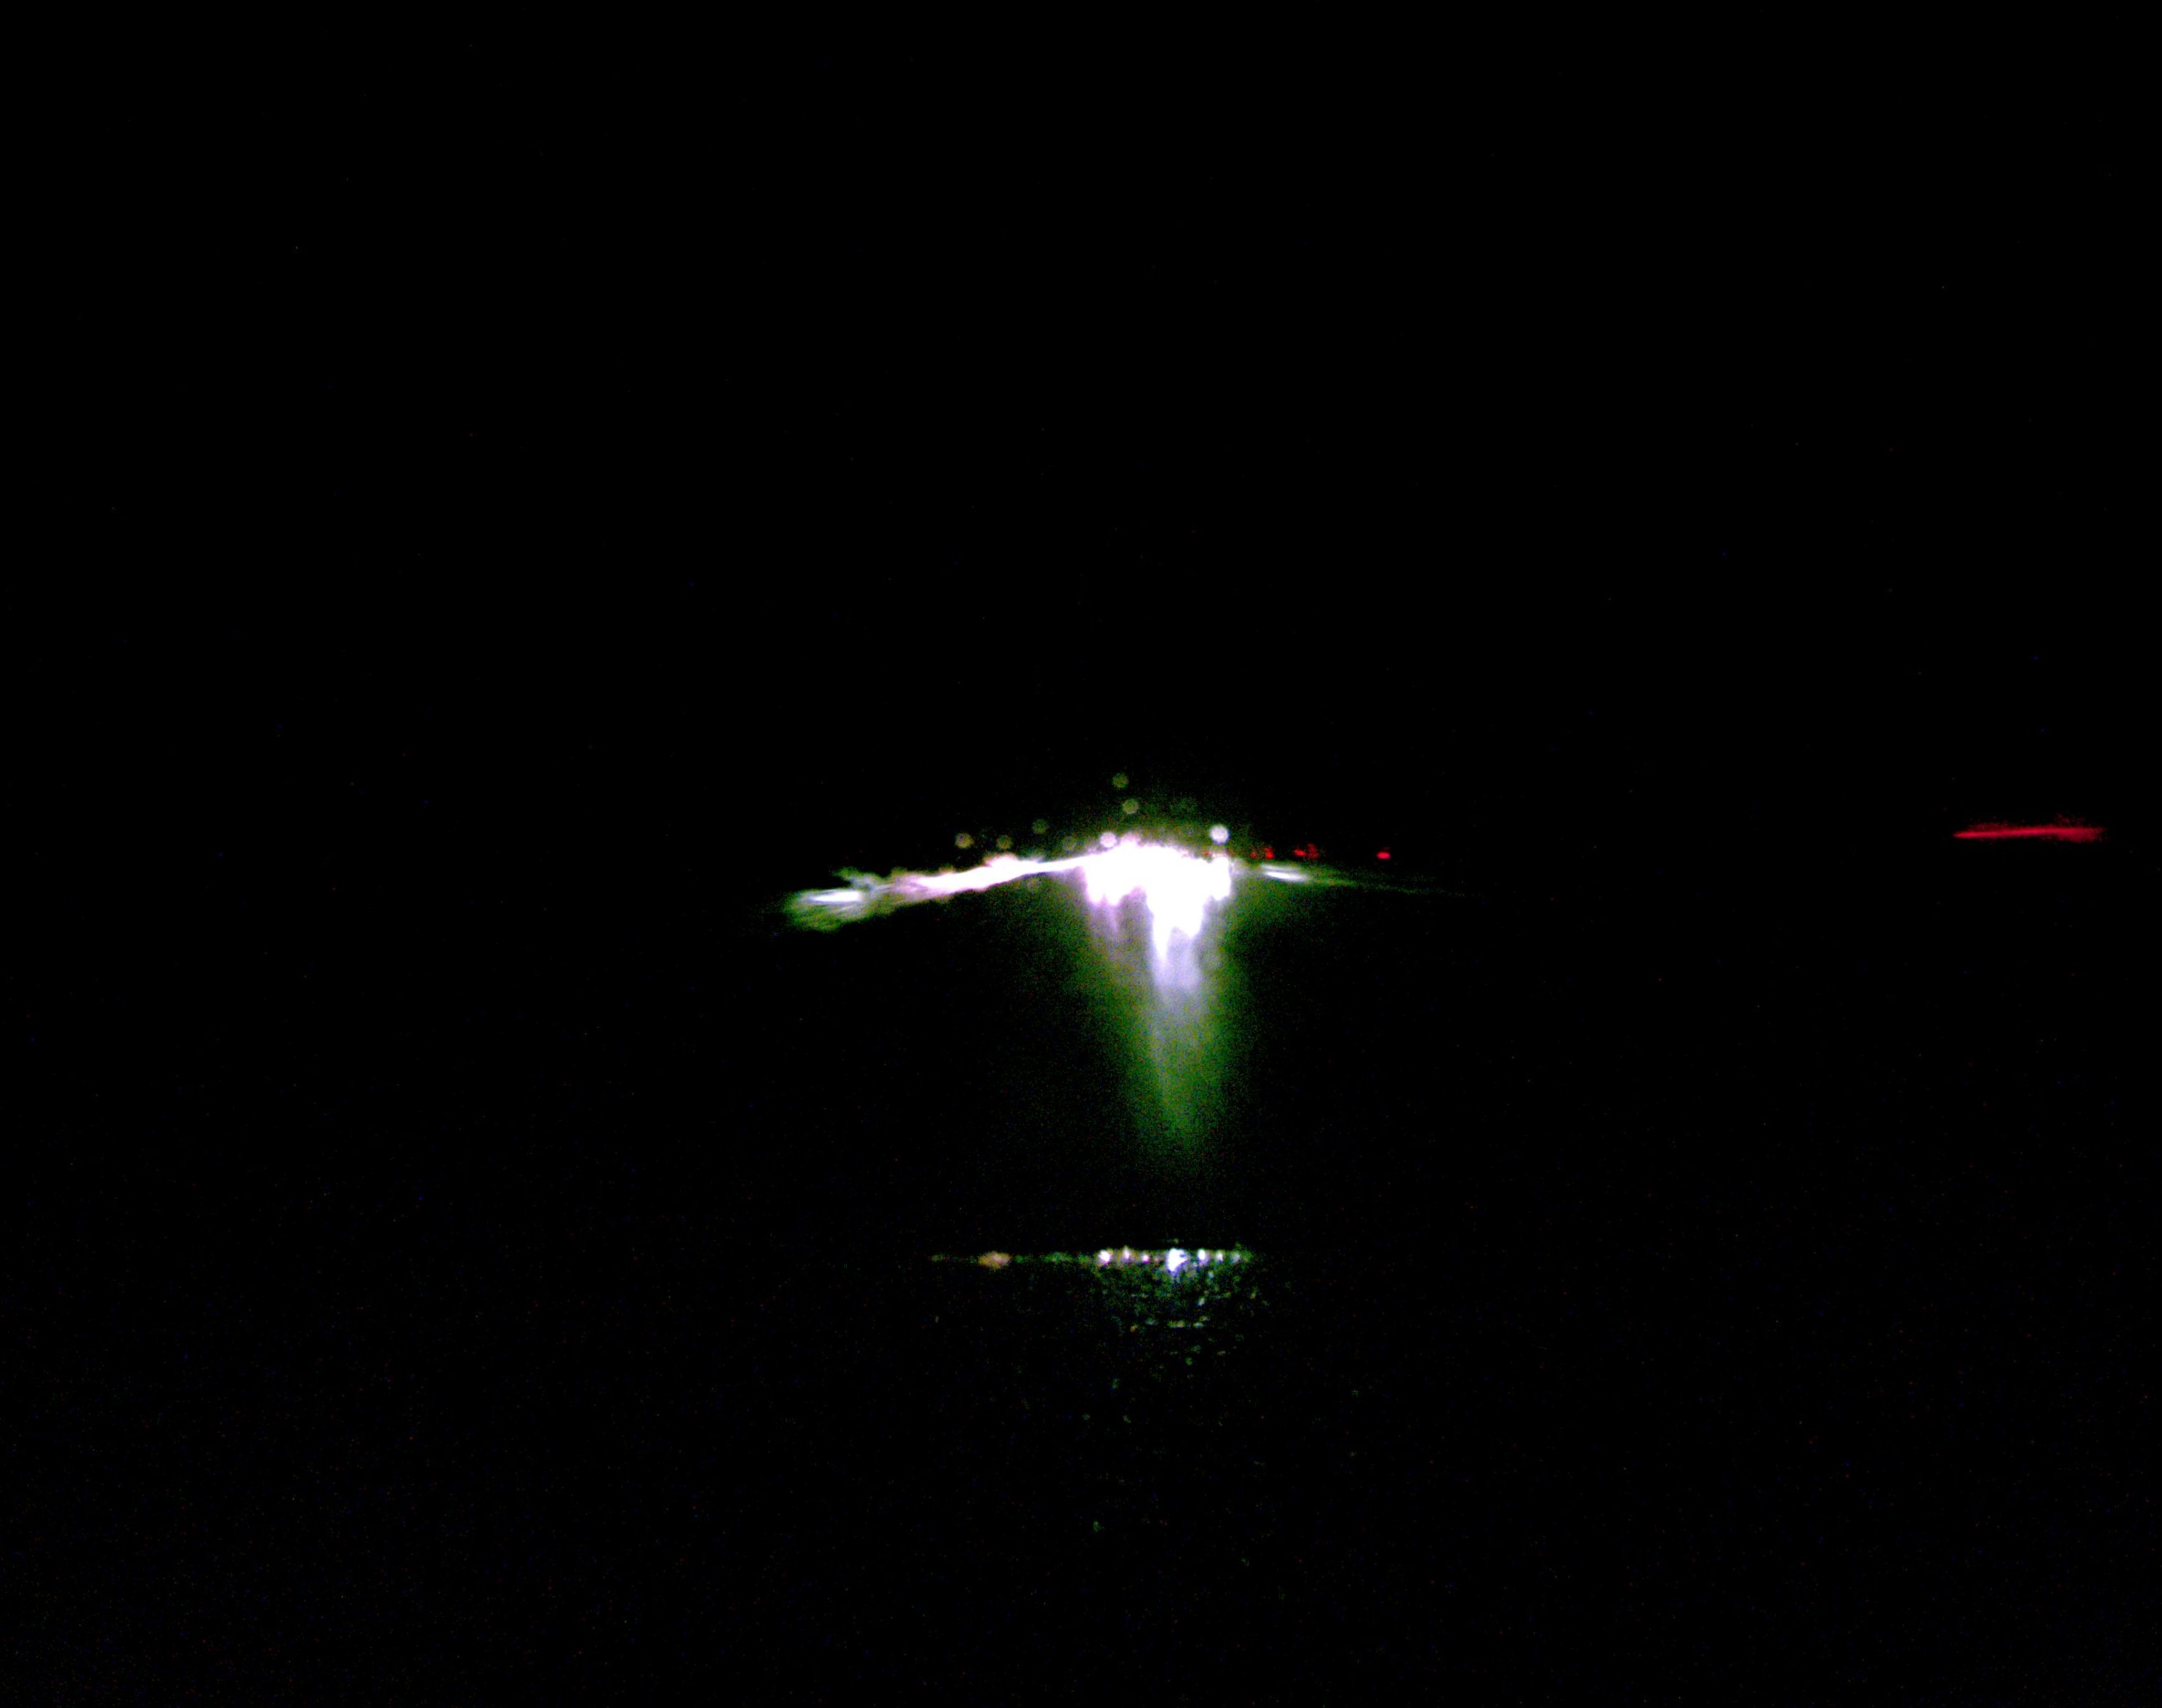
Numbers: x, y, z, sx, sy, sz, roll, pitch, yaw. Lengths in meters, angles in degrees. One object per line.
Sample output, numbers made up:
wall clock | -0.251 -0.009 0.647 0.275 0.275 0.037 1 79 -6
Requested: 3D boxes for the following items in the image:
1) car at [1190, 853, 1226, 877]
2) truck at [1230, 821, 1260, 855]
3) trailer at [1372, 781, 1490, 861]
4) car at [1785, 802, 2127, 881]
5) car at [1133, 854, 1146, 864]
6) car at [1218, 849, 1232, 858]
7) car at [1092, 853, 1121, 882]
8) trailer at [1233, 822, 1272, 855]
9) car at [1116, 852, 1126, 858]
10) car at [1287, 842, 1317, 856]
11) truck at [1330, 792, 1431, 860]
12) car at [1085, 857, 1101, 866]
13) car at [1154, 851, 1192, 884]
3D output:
car | 9.479 0.771 57.119 2.309 1.600 3.872 -3 0 5
truck | 30.782 -2.934 142.762 4.177 6.092 7.345 -3 1 3
trailer | 26.288 -2.301 57.746 4.350 5.111 8.996 -6 0 0
car | 20.411 -0.269 18.249 1.977 1.456 5.369 -4 0 0
car | 7.952 0.682 103.201 1.692 1.149 3.421 -3 0 5
car | 25.824 -0.040 136.371 1.711 1.472 5.017 -4 0 2
car | 1.975 0.983 58.018 1.998 2.002 4.000 -3 0 3
trailer | 30.488 -2.616 136.012 4.177 5.413 13.748 -3 0 3
car | 8.607 0.202 163.055 1.998 1.149 4.001 -3 0 5
car | 22.413 -0.500 77.240 1.711 1.214 4.272 -4 0 0
truck | 26.256 -2.291 67.564 4.350 5.111 10.471 -6 0 0
car | 1.900 1.192 118.088 1.997 1.149 4.001 -3 0 6
car | 5.273 0.751 44.003 1.998 1.667 4.001 -3 0 6
